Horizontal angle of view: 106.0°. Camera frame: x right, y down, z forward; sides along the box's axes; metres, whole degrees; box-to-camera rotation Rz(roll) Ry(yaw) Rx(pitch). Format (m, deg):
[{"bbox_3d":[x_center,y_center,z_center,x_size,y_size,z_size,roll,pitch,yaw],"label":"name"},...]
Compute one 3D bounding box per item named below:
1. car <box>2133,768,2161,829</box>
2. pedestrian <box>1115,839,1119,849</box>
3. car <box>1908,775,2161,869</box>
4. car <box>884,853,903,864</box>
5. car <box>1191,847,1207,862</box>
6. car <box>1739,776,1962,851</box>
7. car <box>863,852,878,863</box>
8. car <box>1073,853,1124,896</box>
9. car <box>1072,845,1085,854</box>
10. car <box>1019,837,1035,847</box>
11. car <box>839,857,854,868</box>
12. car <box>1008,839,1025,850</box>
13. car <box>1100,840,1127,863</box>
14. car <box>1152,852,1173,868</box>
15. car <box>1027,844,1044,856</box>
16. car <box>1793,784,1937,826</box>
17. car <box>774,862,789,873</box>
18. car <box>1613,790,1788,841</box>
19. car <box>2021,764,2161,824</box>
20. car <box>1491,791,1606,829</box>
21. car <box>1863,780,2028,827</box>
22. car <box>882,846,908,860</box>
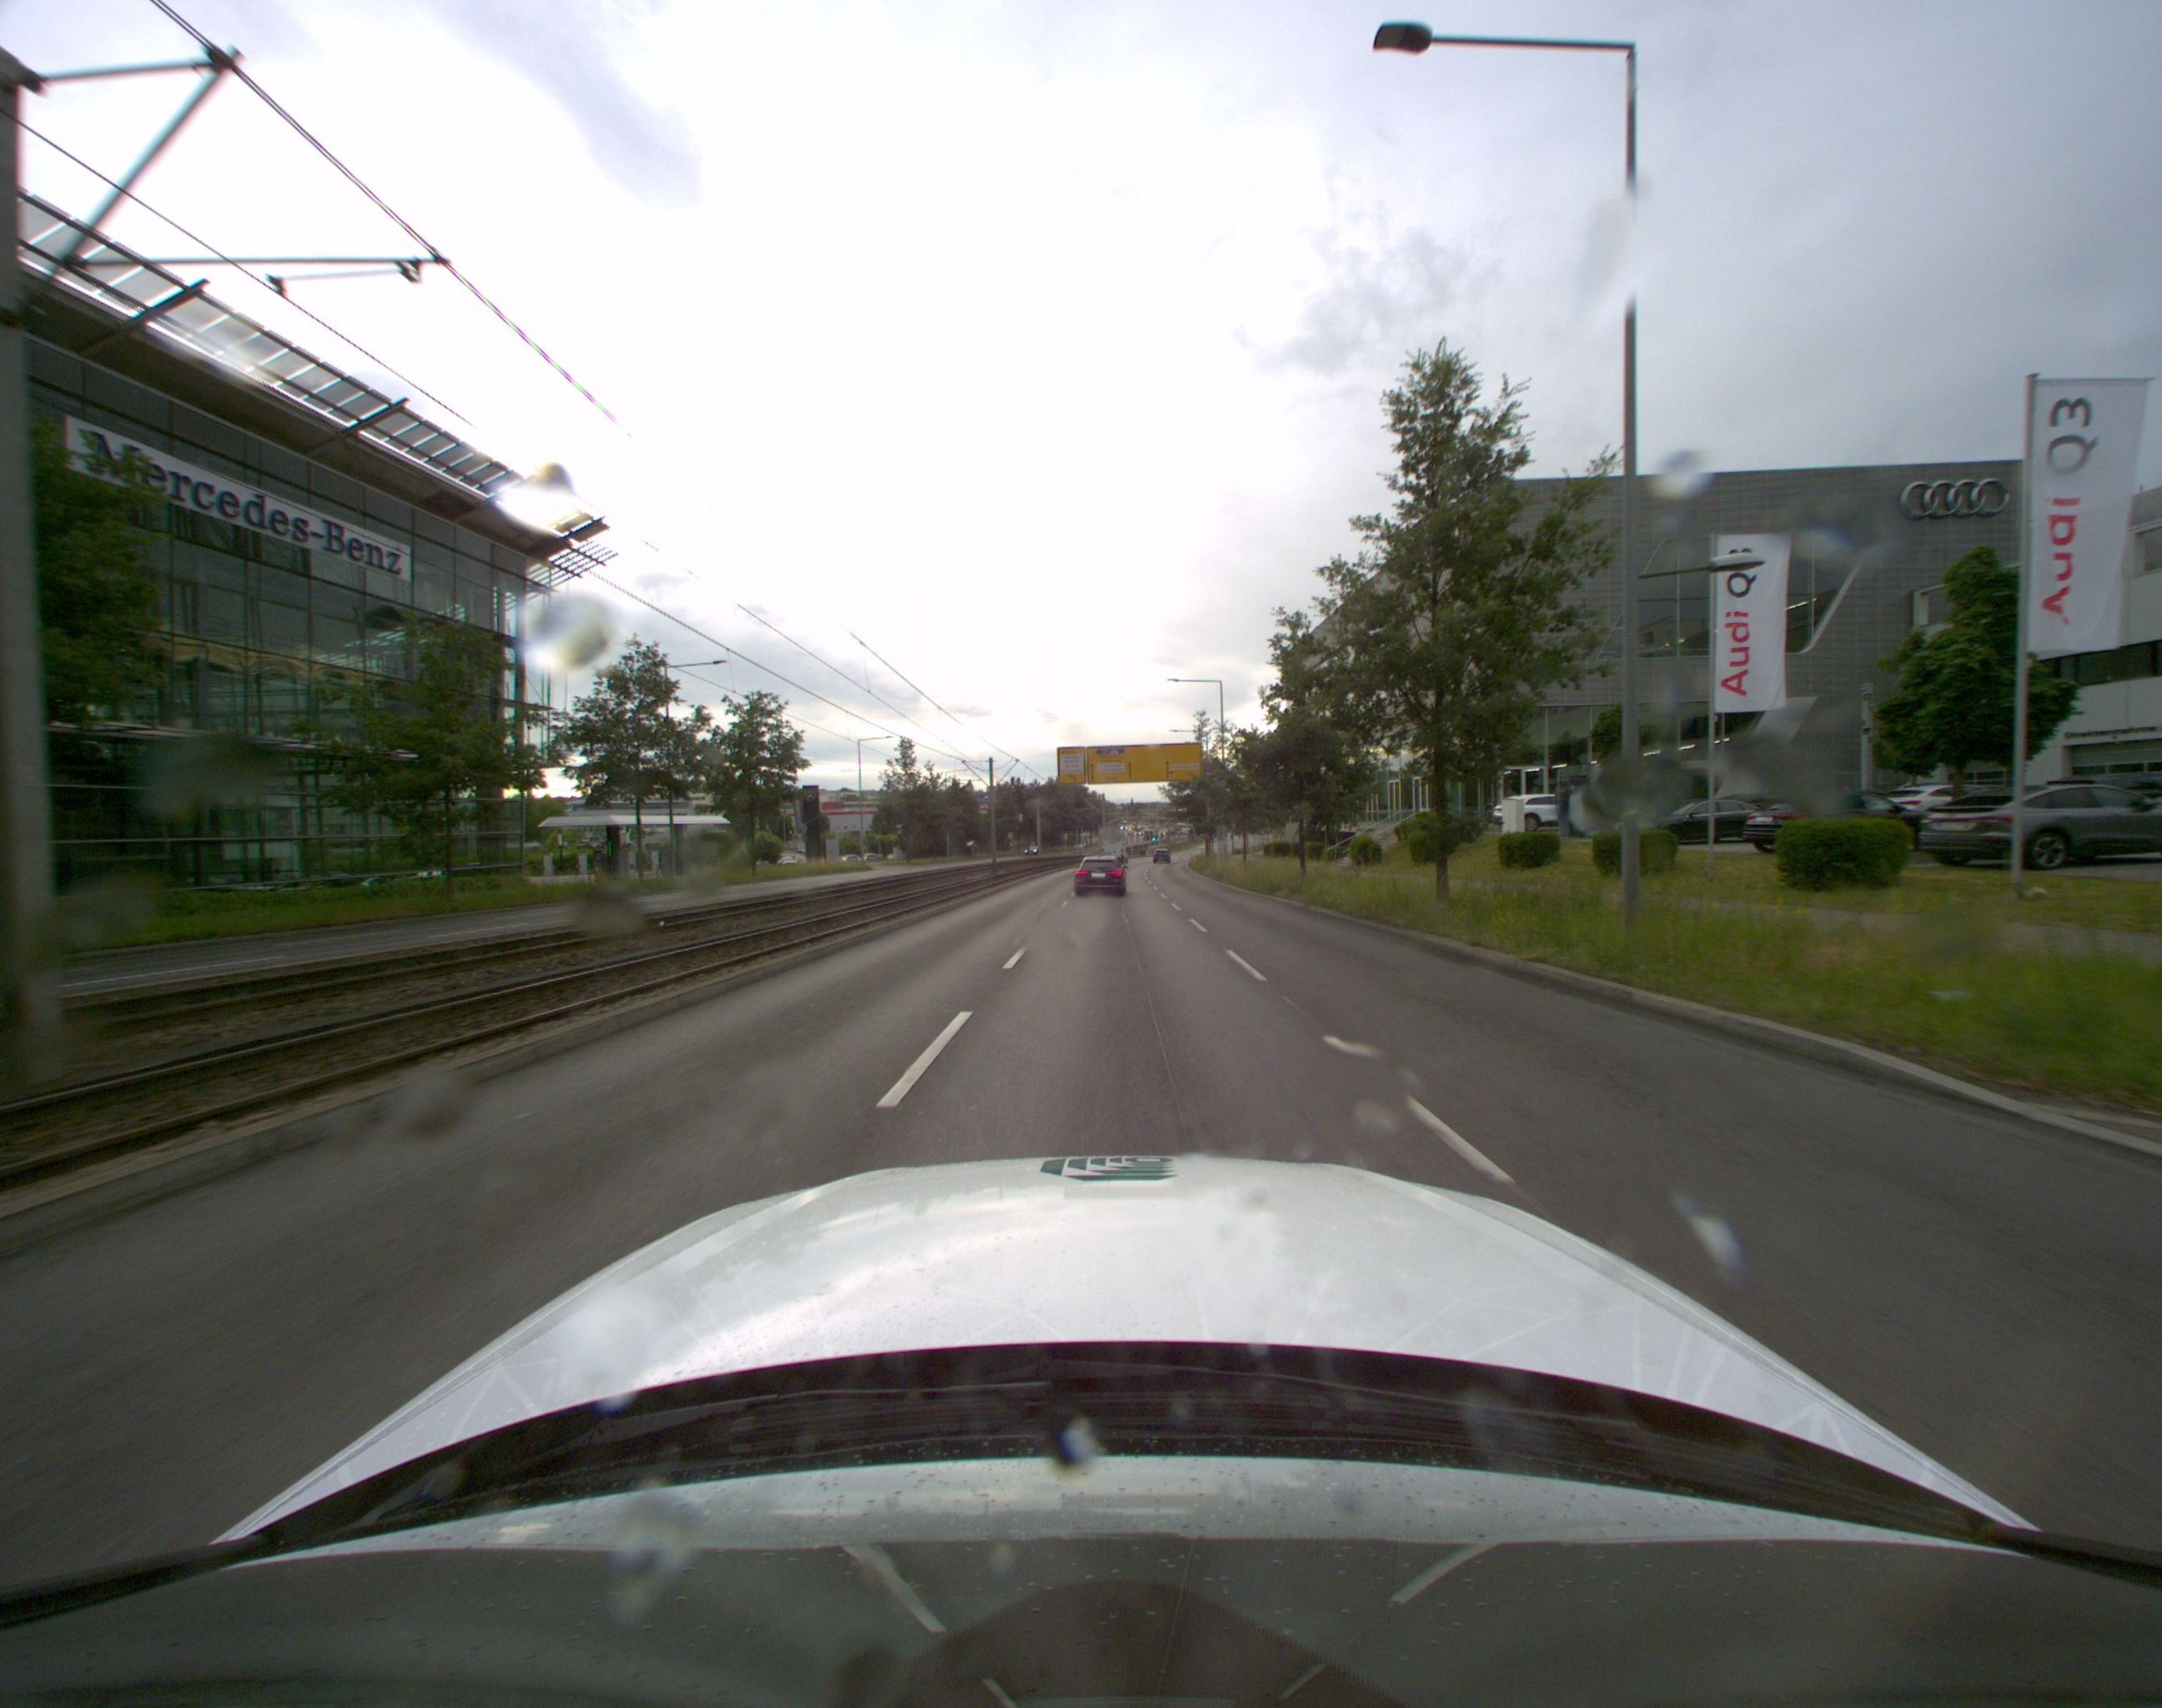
[{"bbox_3d":[30.111,-1.496,20.878,4.091,1.574,1.693,-1,1,0],"label":"car"},{"bbox_3d":[6.758,-1.886,152.845,0.632,1.854,0.753,0,-1,14],"label":"pedestrian"},{"bbox_3d":[19.418,-0.647,16.241,4.091,1.608,1.693,-3,1,0],"label":"car"},{"bbox_3d":[-26.917,0.625,117.009,2.002,1.510,3.969,1,-1,-23],"label":"car"},{"bbox_3d":[16.145,0.063,111.241,2.008,1.769,4.014,0,3,12],"label":"car"},{"bbox_3d":[19.784,-1.001,21.056,4.091,1.574,1.693,-4,0,0],"label":"car"},{"bbox_3d":[-29.910,0.547,115.904,1.757,1.494,3.974,1,-1,-19],"label":"car"},{"bbox_3d":[0.733,0.706,30.469,1.757,1.463,4.630,-1,0,3],"label":"car"},{"bbox_3d":[-0.574,-0.934,169.067,1.982,1.679,4.011,0,1,9],"label":"car"},{"bbox_3d":[-11.154,-2.533,167.476,1.978,2.013,4.018,0,0,17],"label":"car"},{"bbox_3d":[-33.056,1.153,114.787,1.757,1.494,3.974,1,-1,-19],"label":"car"},{"bbox_3d":[-12.794,-1.920,162.382,1.978,2.013,4.018,0,0,17],"label":"car"},{"bbox_3d":[3.298,-0.231,82.563,2.499,2.177,5.156,0,-1,5],"label":"car"},{"bbox_3d":[8.643,0.645,86.239,2.009,1.623,4.010,0,-1,9],"label":"car"},{"bbox_3d":[-6.731,-0.601,121.076,1.874,1.520,4.409,-4,1,4],"label":"car"},{"bbox_3d":[31.265,-1.947,32.568,4.091,1.574,1.760,0,1,0],"label":"car"},{"bbox_3d":[-40.760,1.827,110.907,1.757,1.494,3.974,1,-1,-19],"label":"car"},{"bbox_3d":[19.971,-1.226,26.369,4.405,1.574,1.693,0,1,0],"label":"car"},{"bbox_3d":[30.113,-1.702,23.406,4.091,1.574,1.826,0,1,0],"label":"car"},{"bbox_3d":[20.933,-1.952,36.572,4.244,1.574,1.693,0,1,0],"label":"car"},{"bbox_3d":[30.694,-1.775,29.005,4.091,1.574,1.693,0,1,0],"label":"car"},{"bbox_3d":[-23.243,-0.136,101.872,1.983,1.650,4.008,0,-1,7],"label":"car"}]
